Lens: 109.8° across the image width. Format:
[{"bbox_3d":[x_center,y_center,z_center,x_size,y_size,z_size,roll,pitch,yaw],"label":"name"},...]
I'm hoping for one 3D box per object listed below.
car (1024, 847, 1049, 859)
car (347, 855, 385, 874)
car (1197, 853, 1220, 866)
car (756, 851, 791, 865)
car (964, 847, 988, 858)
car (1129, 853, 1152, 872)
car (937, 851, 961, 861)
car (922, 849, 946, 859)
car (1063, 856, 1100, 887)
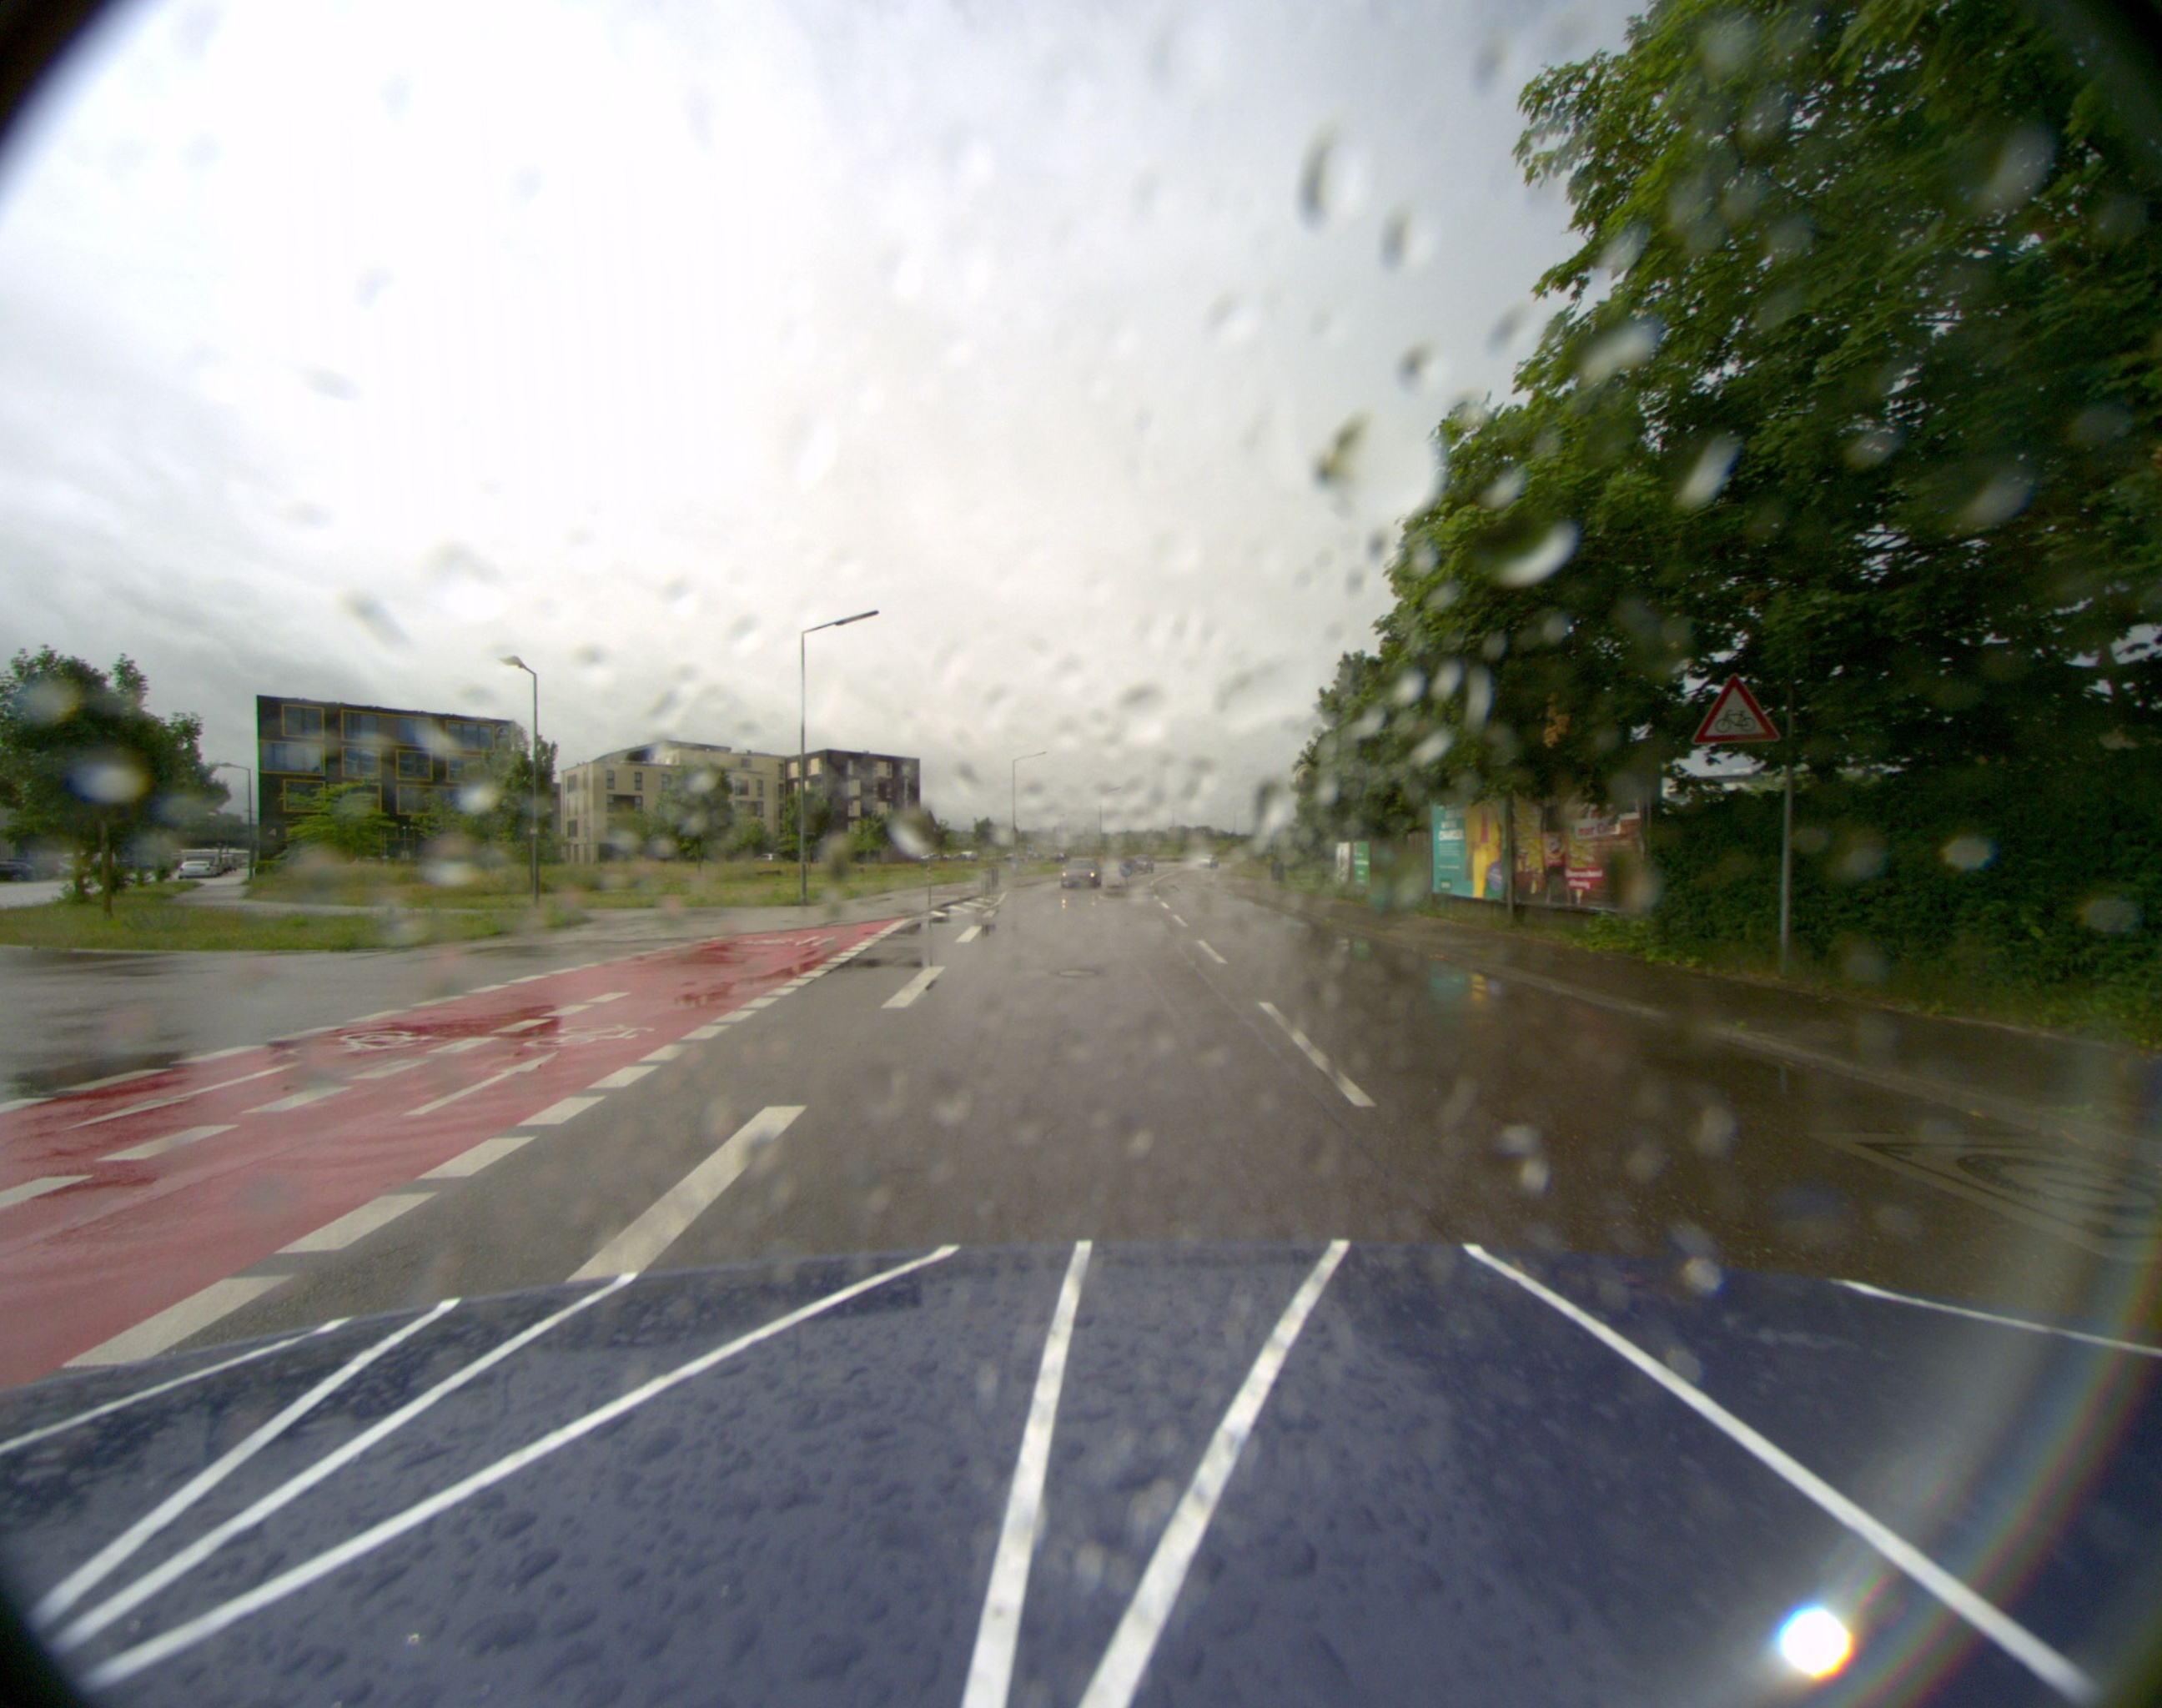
[{"bbox_3d":[-7.667,-0.168,131.245,3.988,2.002,2.004,0,1,43],"label":"car"},{"bbox_3d":[-60.730,0.911,64.511,3.658,1.573,1.652,-1,1,36],"label":"car"},{"bbox_3d":[17.104,0.740,101.579,1.794,1.624,3.825,0,0,29],"label":"car"},{"bbox_3d":[-36.213,0.452,89.653,1.644,1.573,3.674,-1,0,24],"label":"car"},{"bbox_3d":[-19.609,-0.323,142.185,4.008,2.002,1.994,-1,1,-43],"label":"car"},{"bbox_3d":[5.516,0.758,70.439,1.645,1.624,3.671,-1,0,12],"label":"car"},{"bbox_3d":[-22.059,0.332,126.848,3.657,1.652,1.646,-1,1,-36],"label":"car"},{"bbox_3d":[-25.739,-0.027,133.179,3.657,1.601,1.596,-1,1,-40],"label":"car"},{"bbox_3d":[0.069,0.865,38.994,1.723,1.423,3.818,-1,0,2],"label":"car"}]
